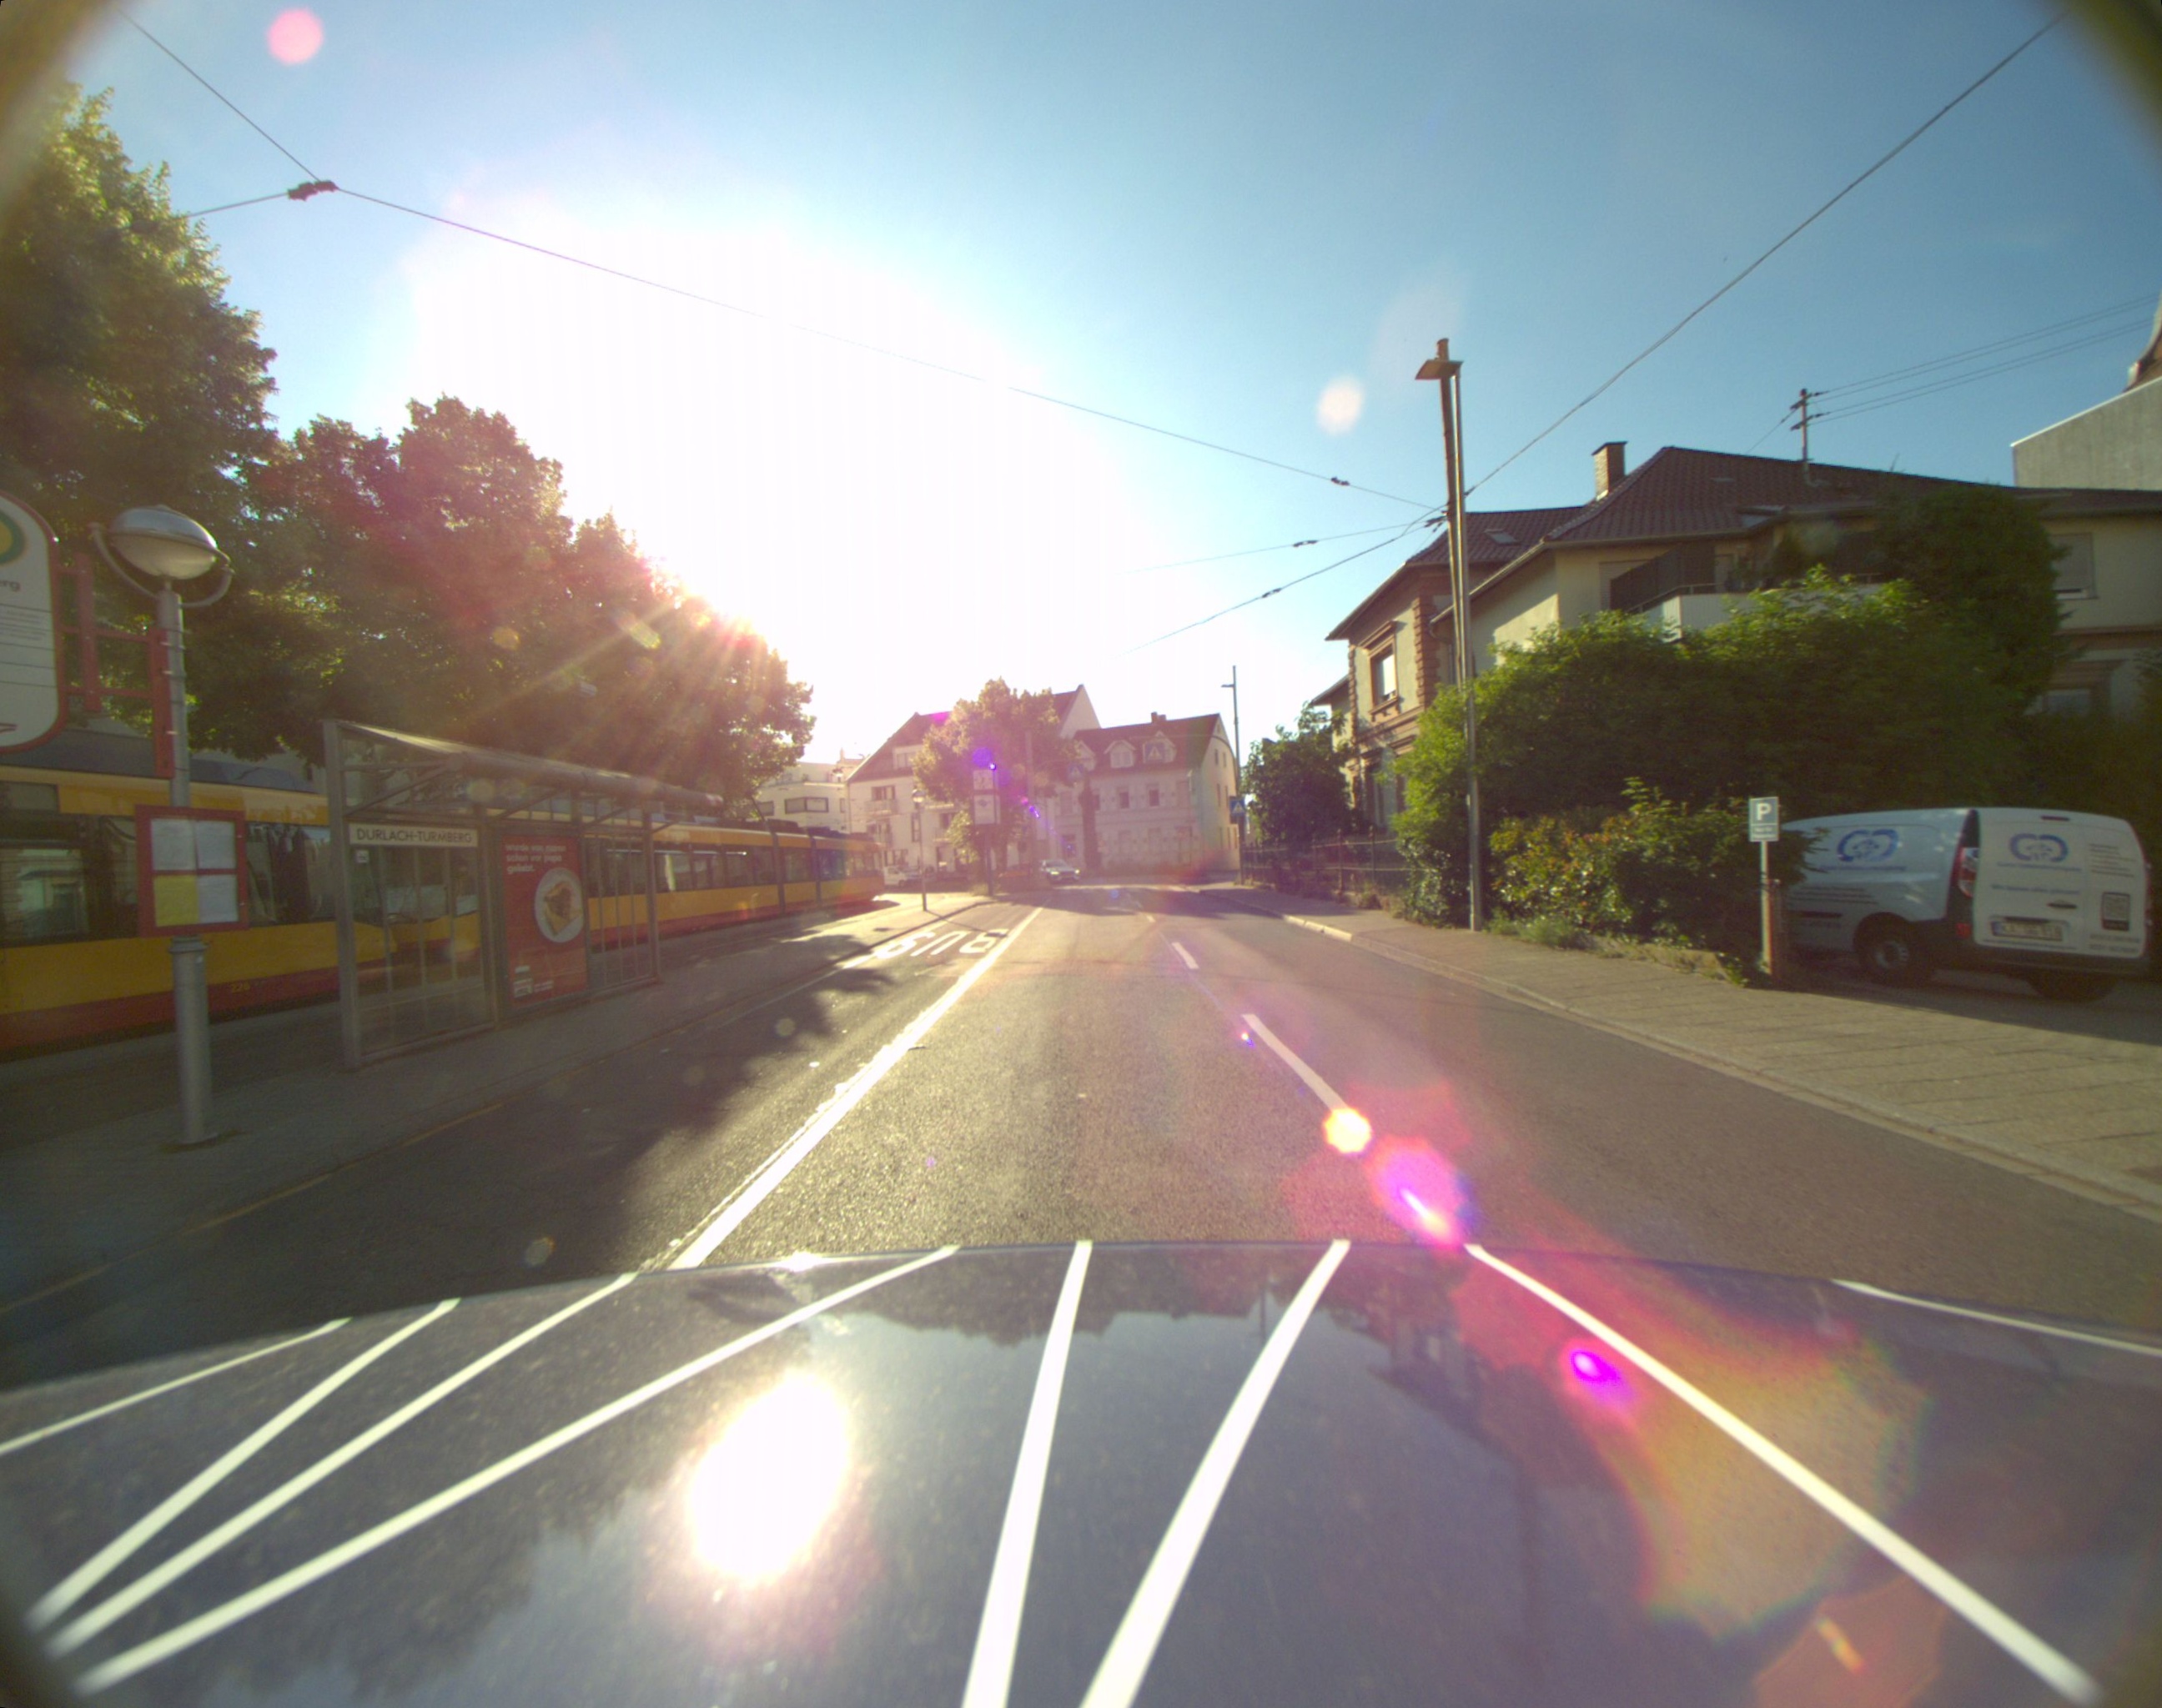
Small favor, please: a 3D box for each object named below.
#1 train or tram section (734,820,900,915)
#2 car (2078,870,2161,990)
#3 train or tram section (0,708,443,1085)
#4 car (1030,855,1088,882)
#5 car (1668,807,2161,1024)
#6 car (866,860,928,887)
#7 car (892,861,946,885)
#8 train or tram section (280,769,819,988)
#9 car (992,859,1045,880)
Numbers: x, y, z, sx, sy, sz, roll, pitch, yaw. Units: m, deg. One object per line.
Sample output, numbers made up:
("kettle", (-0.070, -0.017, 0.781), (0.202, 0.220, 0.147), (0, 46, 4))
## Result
("train or tram section", (-11.310, 0.552, 34.654), (2.965, 3.401, 13.463), (-2, 0, -1))
("car", (14.724, 0.990, 8.586), (1.846, 1.508, 3.791), (1, 0, -4))
("train or tram section", (-11.608, 0.466, 5.082), (2.964, 3.514, 13.462), (-2, 1, 1))
("car", (-1.410, 0.906, 46.260), (2.002, 1.453, 4.441), (-3, -1, -23))
("car", (8.856, 0.537, 8.520), (1.705, 1.804, 3.672), (4, 0, 3))
("car", (-15.286, 1.622, 63.028), (4.781, 1.921, 1.875), (-5, 0, 28))
("car", (-14.579, 1.711, 68.398), (4.263, 1.945, 2.003), (-2, 0, 20))
("train or tram section", (-11.234, 0.446, 20.108), (2.965, 3.401, 15.940), (-2, 0, 0))
("car", (-5.232, 1.295, 63.697), (4.196, 1.453, 1.610), (-5, -1, 32))
